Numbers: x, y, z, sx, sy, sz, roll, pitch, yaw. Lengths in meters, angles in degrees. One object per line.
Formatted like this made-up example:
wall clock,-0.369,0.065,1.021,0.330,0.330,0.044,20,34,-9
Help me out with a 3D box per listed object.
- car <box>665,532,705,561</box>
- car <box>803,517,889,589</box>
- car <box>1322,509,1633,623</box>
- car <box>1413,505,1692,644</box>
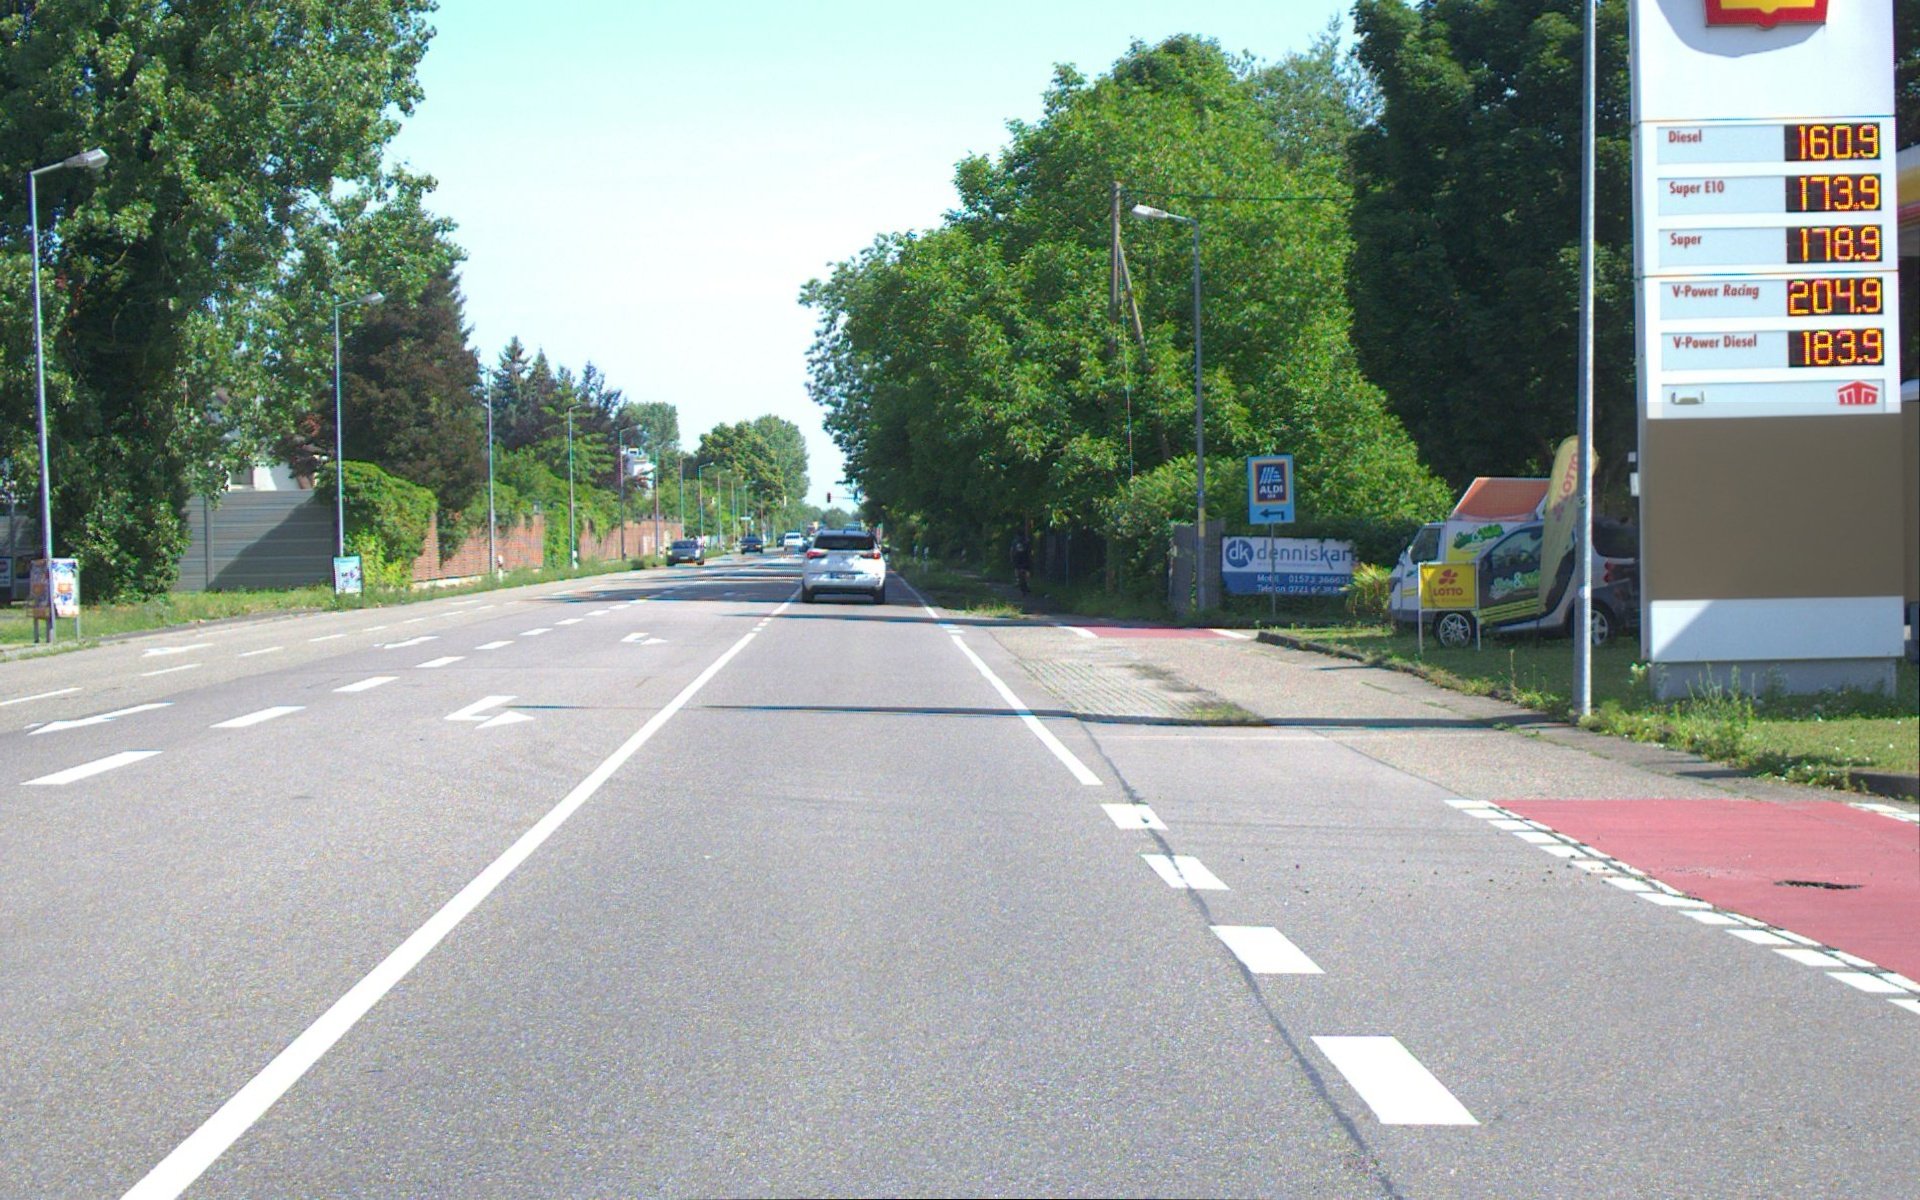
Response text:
car,-15.293,-2.987,191.265,1.847,1.491,4.912,-3,1,-1
car,-2.521,-1.051,76.771,1.846,1.536,4.225,1,1,-1
car,7.221,-0.477,48.101,3.986,1.525,1.586,1,1,-8
car,6.775,-0.280,39.396,2.729,1.525,1.574,0,0,43
